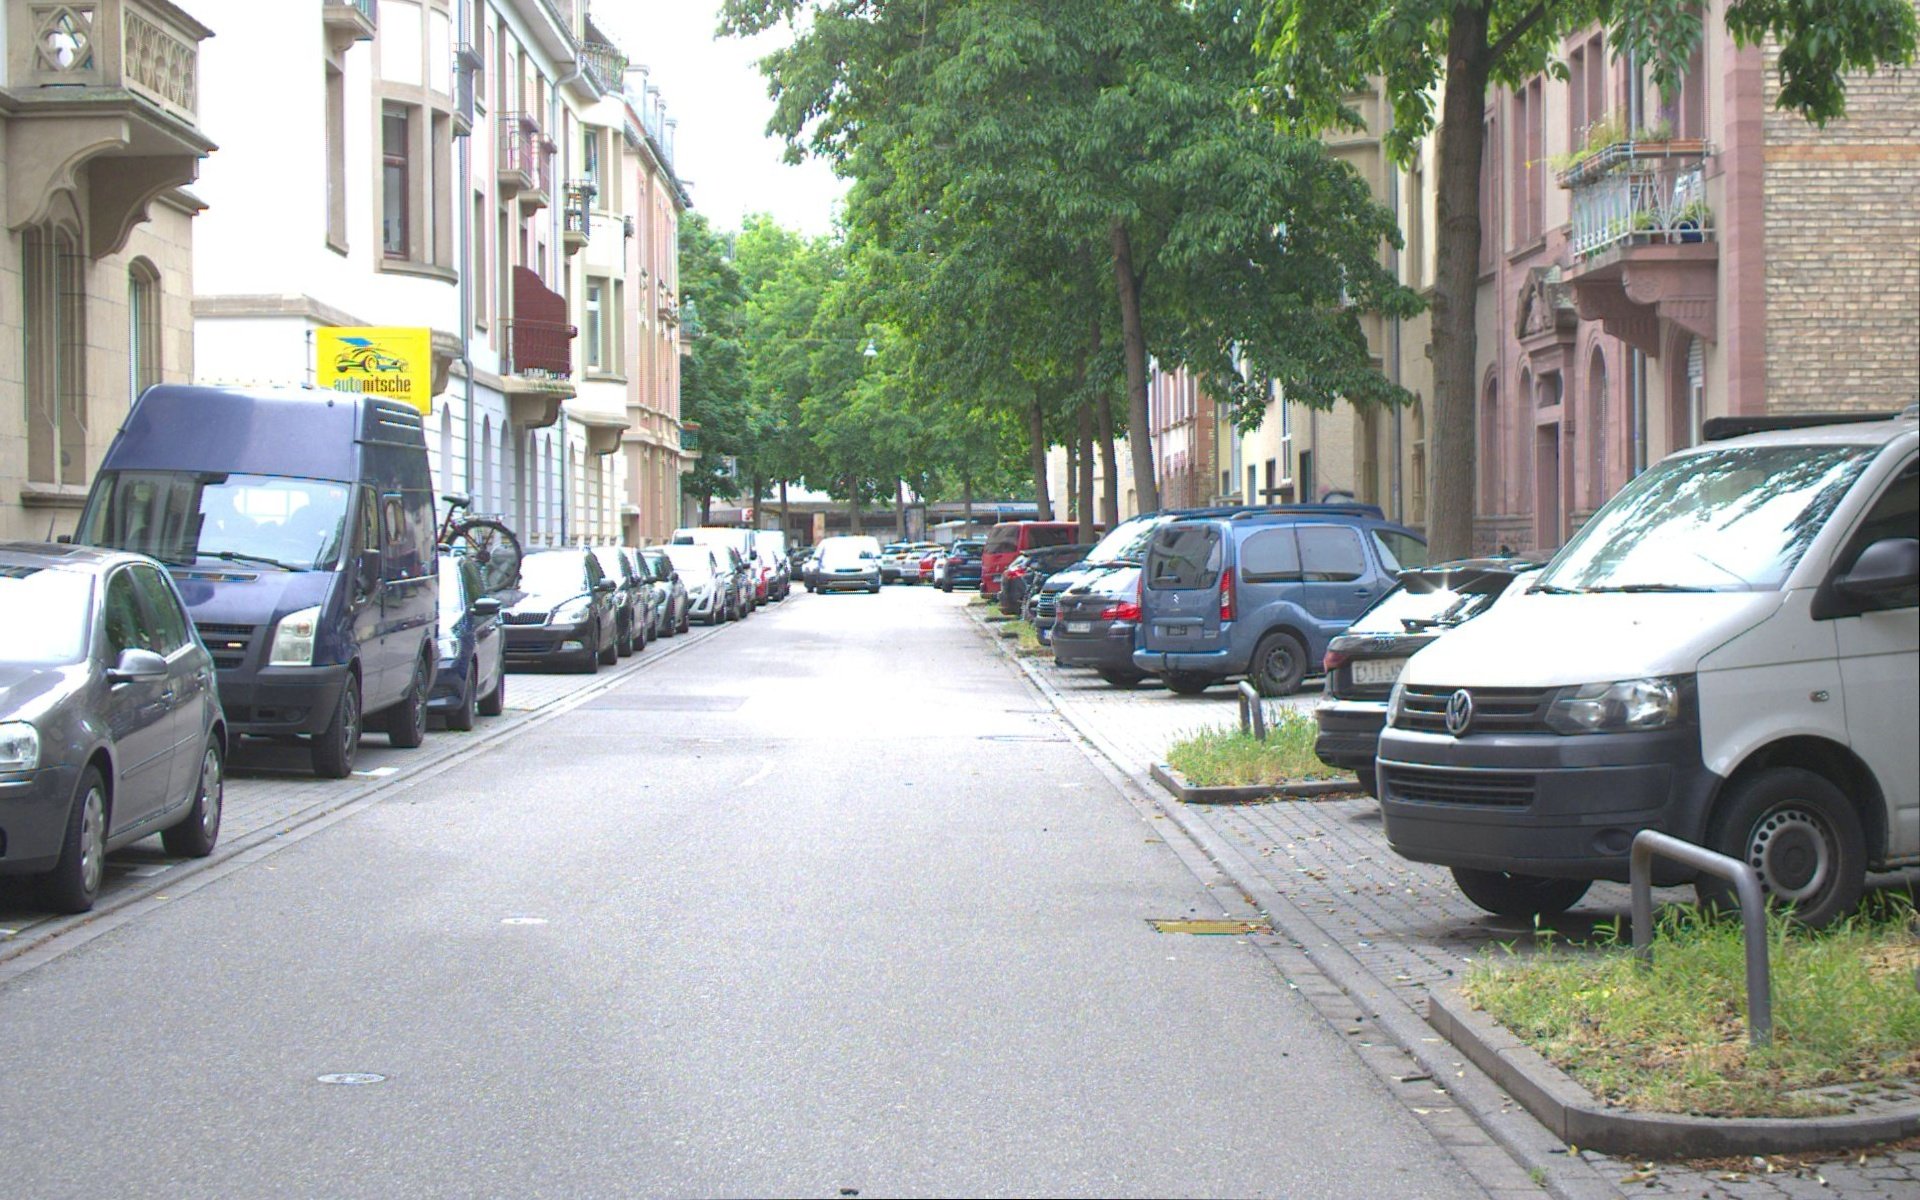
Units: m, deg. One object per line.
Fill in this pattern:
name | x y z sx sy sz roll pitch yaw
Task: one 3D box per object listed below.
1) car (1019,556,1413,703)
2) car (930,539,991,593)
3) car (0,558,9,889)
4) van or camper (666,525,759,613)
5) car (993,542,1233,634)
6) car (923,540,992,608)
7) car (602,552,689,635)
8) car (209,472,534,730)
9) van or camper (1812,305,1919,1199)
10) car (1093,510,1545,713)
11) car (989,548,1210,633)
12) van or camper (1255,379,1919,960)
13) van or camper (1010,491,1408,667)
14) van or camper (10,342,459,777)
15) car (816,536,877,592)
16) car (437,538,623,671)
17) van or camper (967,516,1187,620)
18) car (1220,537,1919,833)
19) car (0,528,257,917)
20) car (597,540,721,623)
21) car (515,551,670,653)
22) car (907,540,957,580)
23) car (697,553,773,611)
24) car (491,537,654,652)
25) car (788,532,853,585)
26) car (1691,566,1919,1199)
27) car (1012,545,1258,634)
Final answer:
car | 2.850 0.292 38.075 4.010 1.554 1.885 0 1 -31
car | -0.010 -1.167 119.090 1.993 1.788 4.000 1 0 -1
car | -4.148 0.560 10.059 1.634 1.468 4.000 1 0 -1
van or camper | -5.743 -0.740 80.151 1.881 1.961 4.408 -1 1 -1
car | 2.517 -0.216 57.224 3.760 1.460 1.729 -1 1 -6
car | -0.088 -0.838 108.504 1.993 2.007 4.000 3 1 -1
car | -5.162 -0.132 56.703 1.209 1.305 3.261 -1 1 -1
car | -4.936 -0.031 29.509 1.993 2.007 4.891 -1 1 -1
van or camper | 3.950 0.436 5.160 5.005 1.863 2.127 -2 1 -28
car | 3.694 0.097 35.251 4.172 1.863 2.000 -2 0 -30
car | 2.491 -0.183 61.953 3.760 1.460 1.729 -1 1 -6
van or camper | 3.768 0.198 13.707 4.729 1.987 2.000 -2 -1 -26
van or camper | 3.215 -0.304 44.094 4.775 2.130 2.055 -1 1 -31
van or camper | -4.837 -0.292 23.747 2.008 2.642 5.316 -1 1 -1
car | -3.502 -1.103 106.222 1.821 1.639 3.754 1 0 -1
car | -5.072 0.026 40.997 1.789 1.475 4.023 1 1 -2
van or camper | 2.442 -0.683 71.691 4.146 2.078 1.953 -1 1 -28
car | 3.811 0.411 19.582 4.301 1.388 1.923 -3 1 -32
car | -4.297 0.456 14.984 1.667 1.468 4.000 1 0 -1
car | -5.566 -0.364 63.913 1.993 1.470 4.000 -1 1 -1
car | -5.511 0.005 52.016 1.947 1.398 4.000 3 1 -1
car | -1.129 -1.579 135.736 1.870 1.525 4.000 -1 1 -1
car | -6.102 -0.501 93.372 1.786 1.450 3.888 -3 1 -1
car | -5.267 -0.101 47.102 1.829 1.422 3.801 3 1 -1
car | -4.671 -1.398 115.701 1.908 1.672 4.000 3 1 1
car | 3.791 0.582 7.740 3.995 1.439 1.841 -3 1 -32
car | 2.773 -0.178 54.882 3.709 1.403 1.576 0 1 -6
